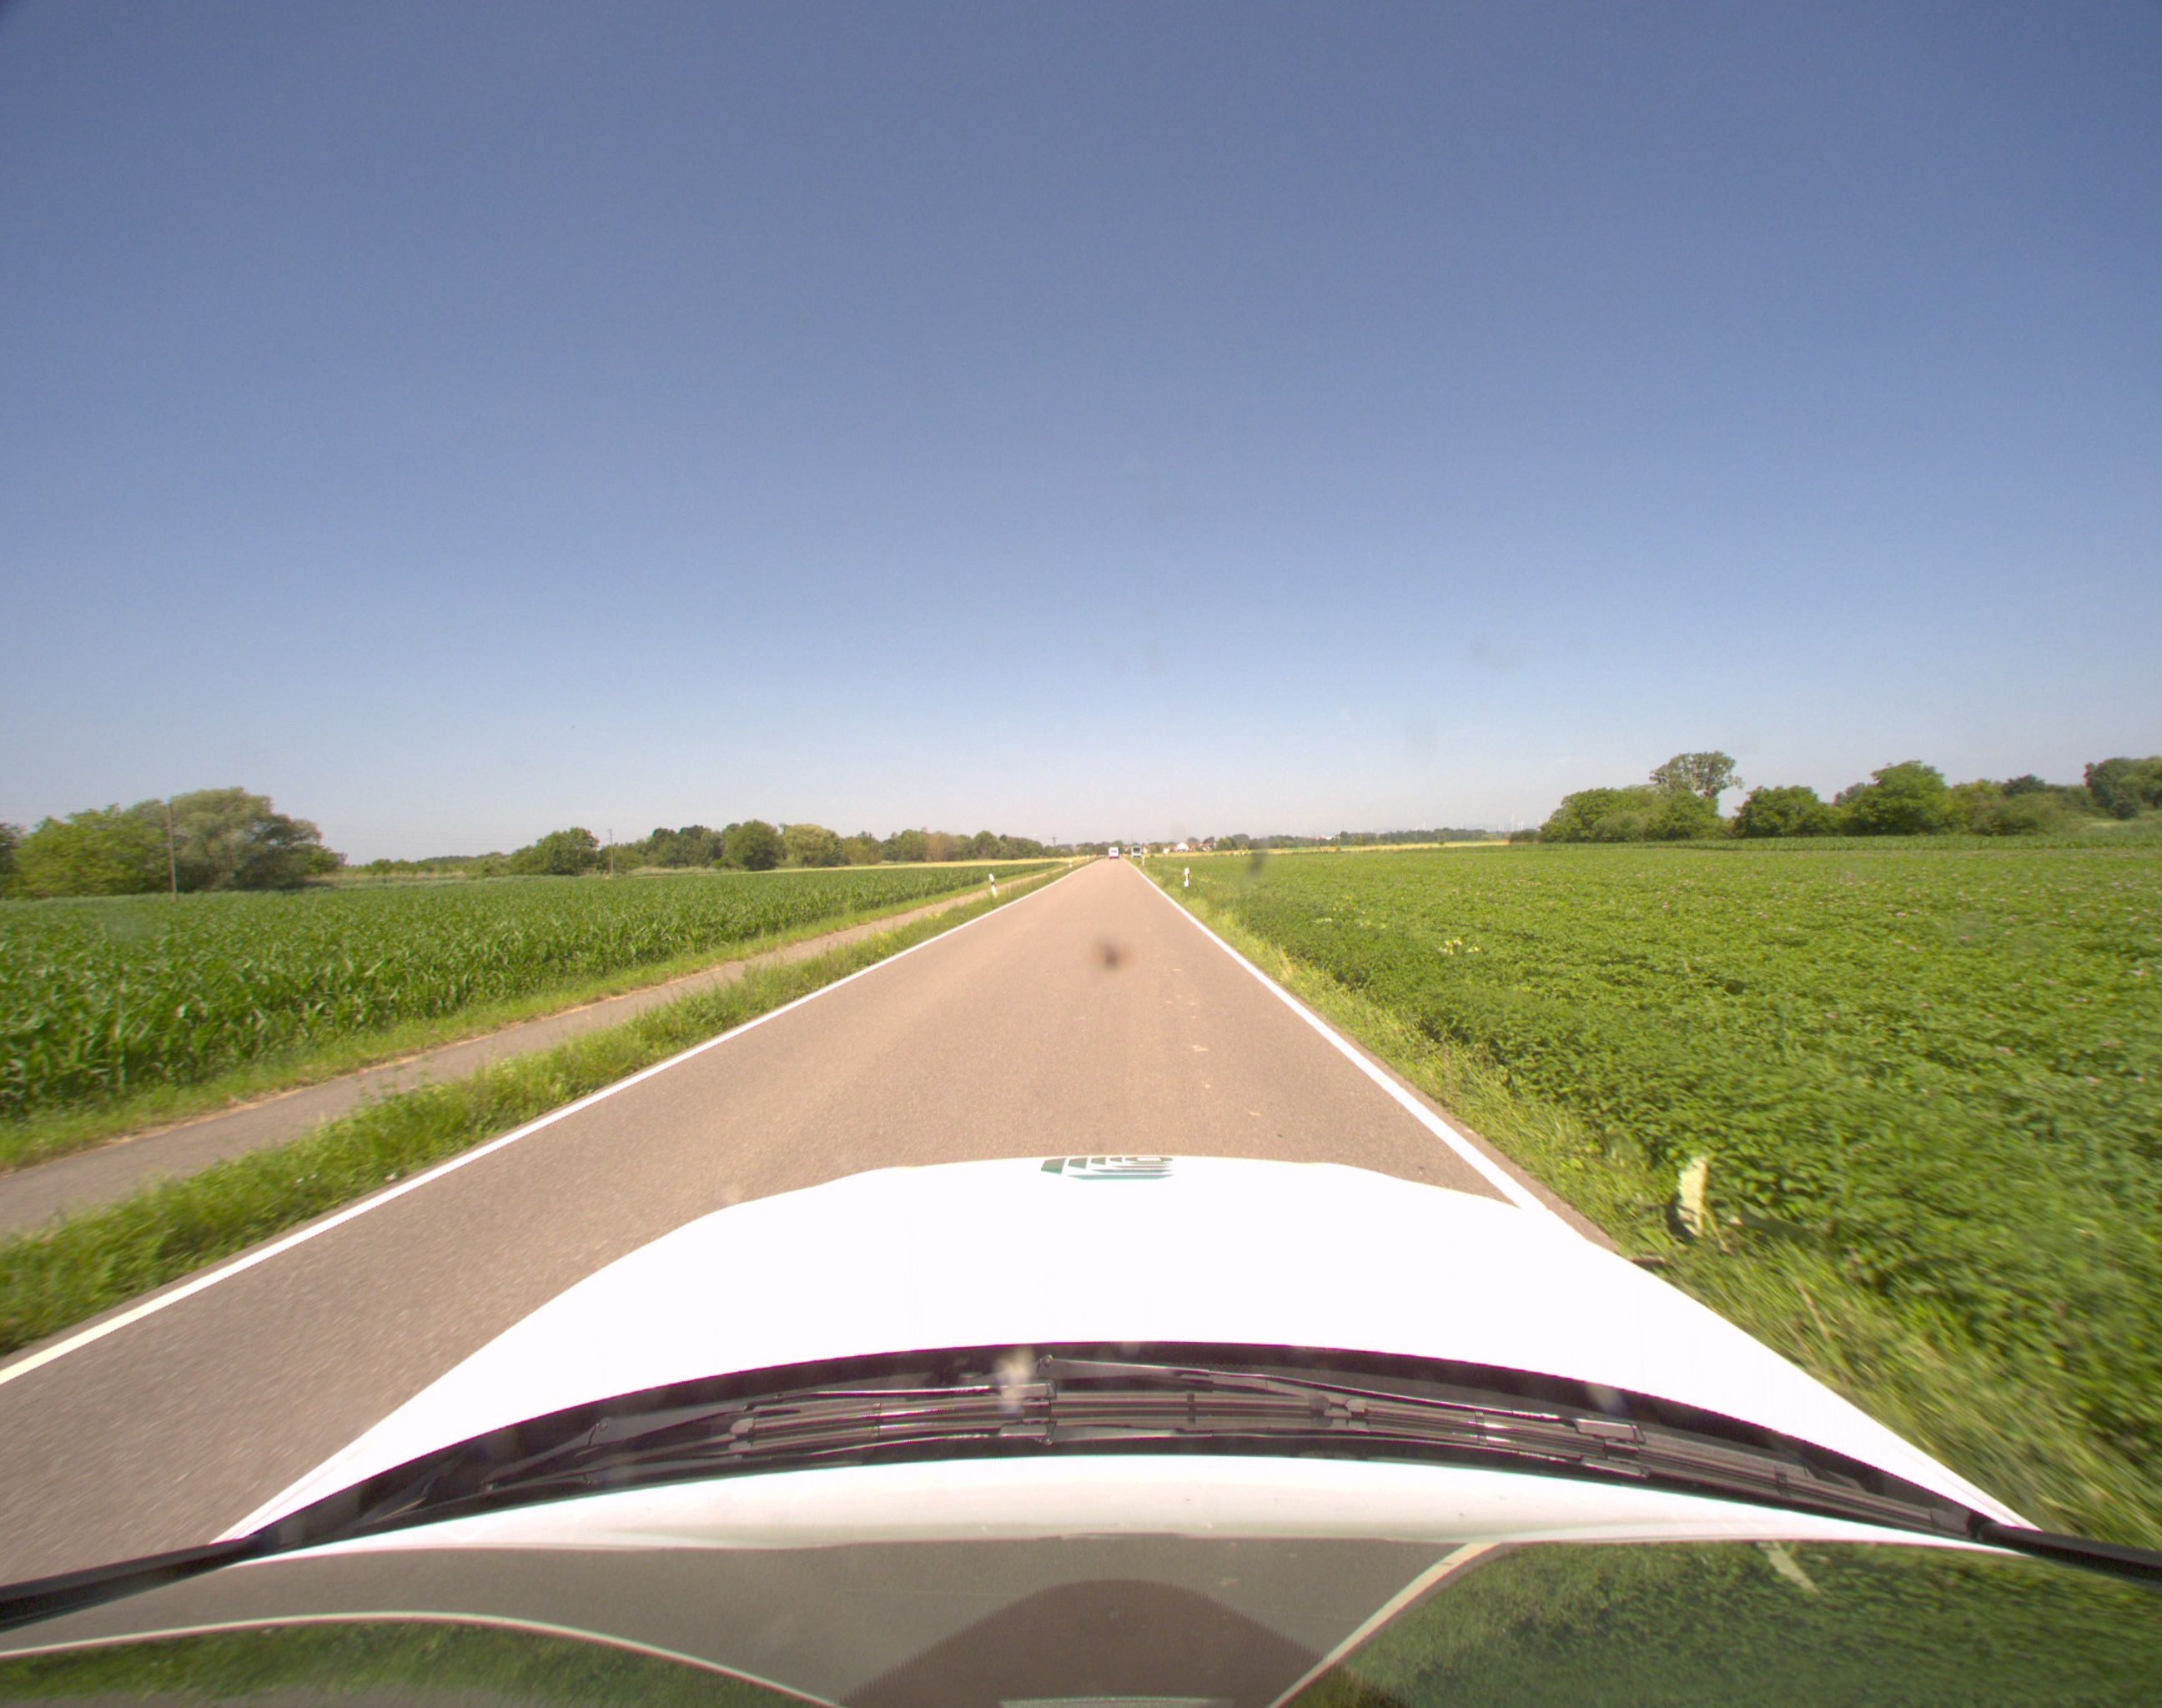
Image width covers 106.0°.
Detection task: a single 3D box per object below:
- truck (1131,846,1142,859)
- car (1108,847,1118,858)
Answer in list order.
[{"bbox_3d":[13.635,-0.371,200.620,2.327,2.942,7.008,1,0,1],"label":"truck"},{"bbox_3d":[6.928,-0.264,174.083,2.099,2.304,5.498,0,0,2],"label":"car"}]
